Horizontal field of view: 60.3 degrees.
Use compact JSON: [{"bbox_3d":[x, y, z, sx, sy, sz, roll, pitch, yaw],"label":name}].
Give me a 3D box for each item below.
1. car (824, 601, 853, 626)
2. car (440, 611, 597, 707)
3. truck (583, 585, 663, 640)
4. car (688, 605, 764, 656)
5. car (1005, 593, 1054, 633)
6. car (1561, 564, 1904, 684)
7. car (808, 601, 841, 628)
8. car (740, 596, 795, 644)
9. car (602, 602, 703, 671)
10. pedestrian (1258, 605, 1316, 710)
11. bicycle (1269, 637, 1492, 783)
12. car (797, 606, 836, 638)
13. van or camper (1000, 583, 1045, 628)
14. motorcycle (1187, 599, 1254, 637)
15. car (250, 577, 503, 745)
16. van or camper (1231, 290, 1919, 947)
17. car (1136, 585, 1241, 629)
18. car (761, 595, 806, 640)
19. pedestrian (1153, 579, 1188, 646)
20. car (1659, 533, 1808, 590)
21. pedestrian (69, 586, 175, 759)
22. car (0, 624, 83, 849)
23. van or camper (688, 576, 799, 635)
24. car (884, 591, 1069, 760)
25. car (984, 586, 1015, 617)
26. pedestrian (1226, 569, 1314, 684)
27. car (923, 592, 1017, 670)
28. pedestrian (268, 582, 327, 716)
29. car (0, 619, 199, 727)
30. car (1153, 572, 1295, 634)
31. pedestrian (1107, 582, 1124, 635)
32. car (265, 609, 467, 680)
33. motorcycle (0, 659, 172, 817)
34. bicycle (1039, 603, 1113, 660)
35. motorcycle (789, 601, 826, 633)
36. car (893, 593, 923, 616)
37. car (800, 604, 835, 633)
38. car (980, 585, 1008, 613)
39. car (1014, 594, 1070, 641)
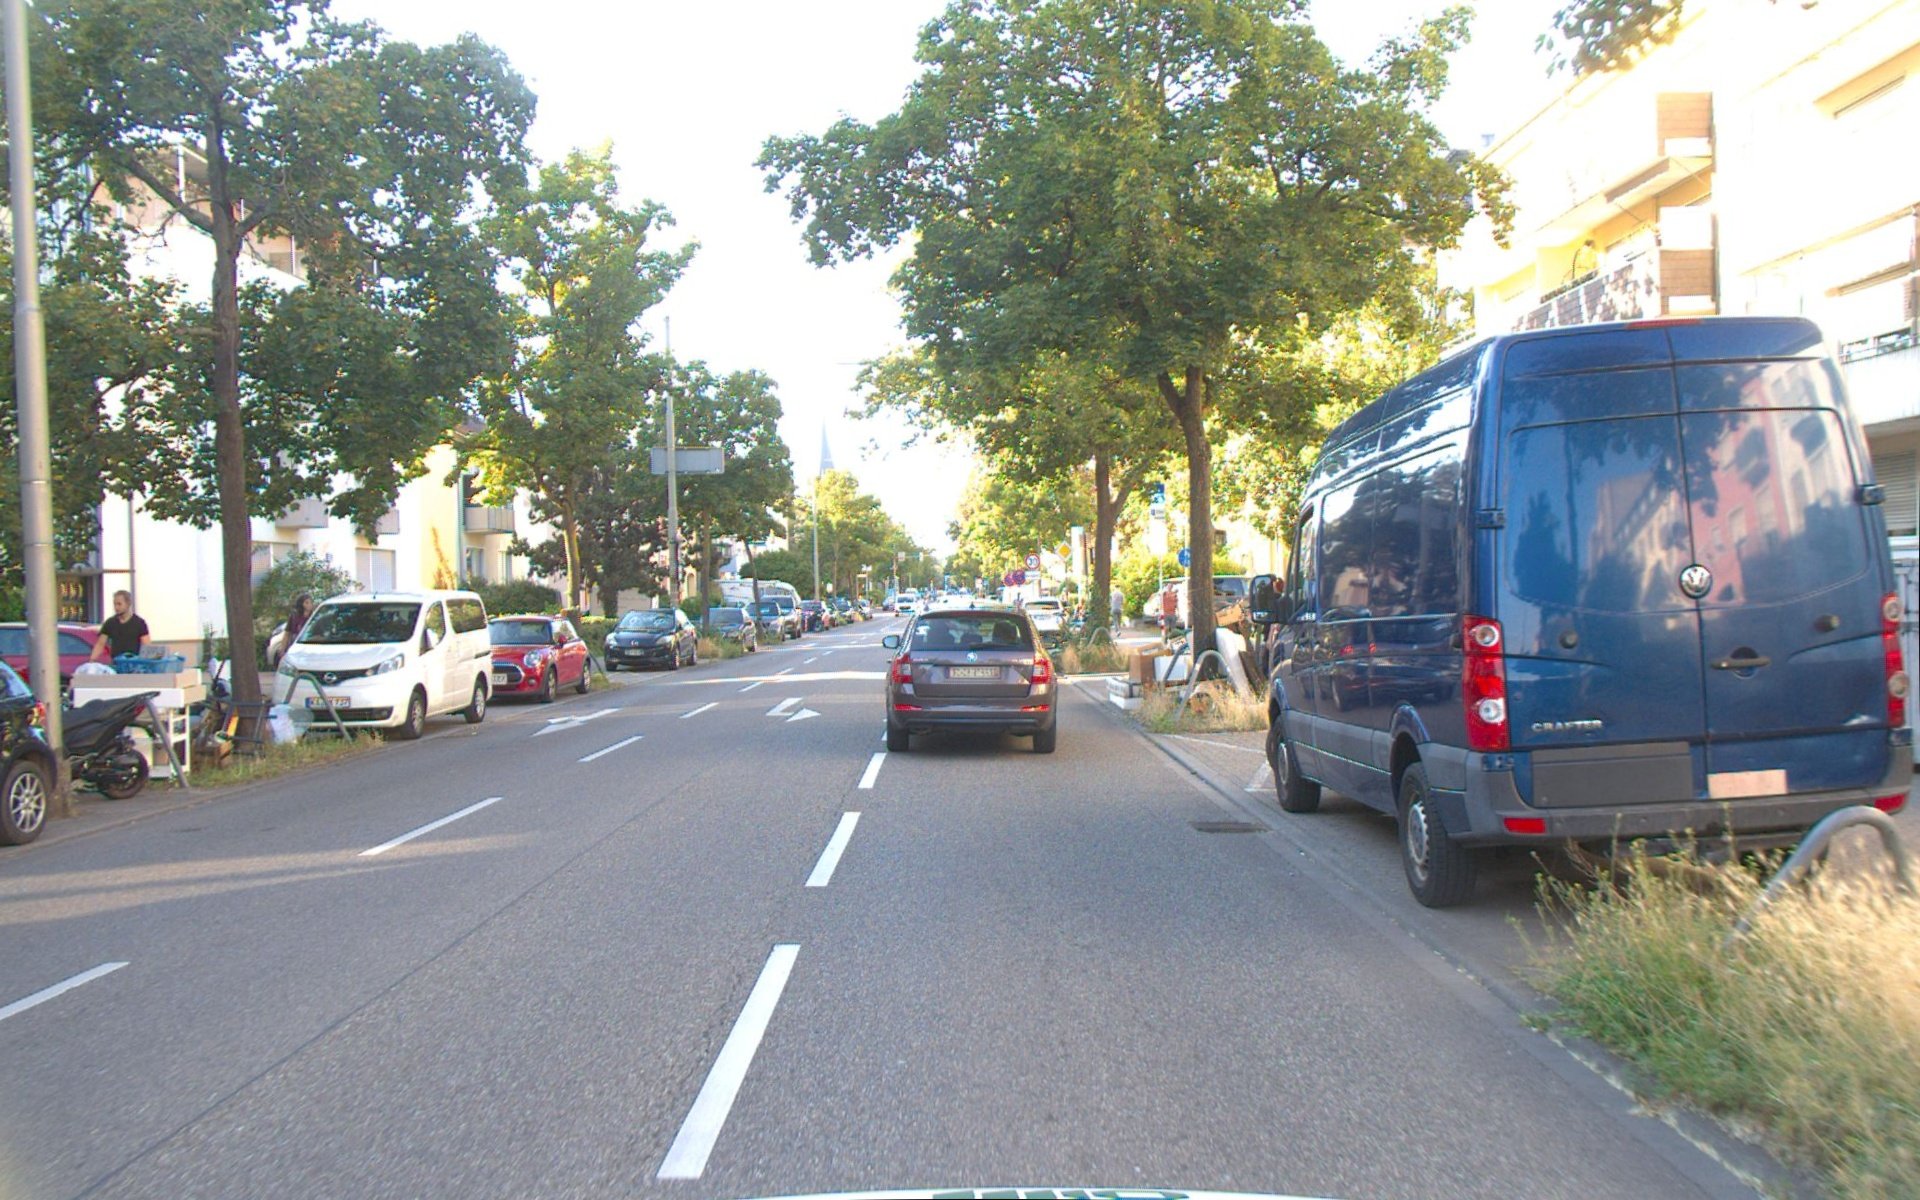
[{"bbox_3d":[-7.857,0.863,106.984,1.630,1.457,3.275,-1,1,0],"label":"car"},{"bbox_3d":[-7.574,0.963,28.707,1.682,1.445,3.786,-1,1,0],"label":"car"},{"bbox_3d":[-13.584,0.505,66.800,2.854,2.130,1.546,-1,0,-1],"label":"truck"},{"bbox_3d":[-7.375,0.947,52.480,1.718,1.445,4.426,-1,1,0],"label":"car"},{"bbox_3d":[2.677,0.467,64.112,1.783,1.438,4.112,-1,1,2],"label":"car"},{"bbox_3d":[10.615,0.305,22.895,3.908,1.487,1.823,-2,0,-4],"label":"car"},{"bbox_3d":[-7.816,0.809,95.672,1.630,1.457,3.275,-1,1,0],"label":"car"},{"bbox_3d":[-7.572,0.748,65.309,1.714,1.771,3.591,-1,1,0],"label":"car"},{"bbox_3d":[-7.553,0.864,40.966,1.682,1.523,4.247,-1,1,0],"label":"car"},{"bbox_3d":[4.112,0.718,20.783,0.639,1.276,0.658,-1,0,16],"label":"pedestrian"},{"bbox_3d":[3.367,0.876,13.301,1.666,1.108,0.404,-1,0,2],"label":"bicycle"},{"bbox_3d":[-7.405,1.107,85.443,1.630,1.538,4.178,-1,1,0],"label":"car"},{"bbox_3d":[2.976,0.233,79.528,1.953,2.049,4.000,-1,1,0],"label":"van or camper"},{"bbox_3d":[8.197,0.566,52.034,2.011,1.144,0.525,-2,0,-6],"label":"motorcycle"},{"bbox_3d":[-7.555,0.705,21.900,1.733,1.952,4.459,-1,1,0],"label":"car"},{"bbox_3d":[3.173,0.089,9.979,2.025,2.722,5.989,-1,0,0],"label":"van or camper"},{"bbox_3d":[8.794,0.267,63.689,3.747,1.552,1.502,-2,0,-22],"label":"car"},{"bbox_3d":[-7.465,0.712,70.144,1.476,1.788,3.693,-1,1,0],"label":"car"},{"bbox_3d":[5.873,0.344,46.167,0.741,1.827,0.905,-1,0,-5],"label":"pedestrian"},{"bbox_3d":[21.163,-1.049,45.339,3.277,1.443,1.661,-1,0,0],"label":"car"},{"bbox_3d":[-10.239,0.860,20.243,0.751,2.049,0.976,-1,0,-1],"label":"pedestrian"},{"bbox_3d":[-7.512,0.991,10.518,1.714,1.529,3.978,-1,1,0],"label":"car"},{"bbox_3d":[-15.209,0.390,116.616,7.487,3.942,1.999,-2,0,-2],"label":"van or camper"},{"bbox_3d":[0.185,0.693,17.403,1.694,1.520,3.951,-1,1,1],"label":"car"},{"bbox_3d":[2.454,0.049,102.821,1.694,1.846,3.949,-1,1,-2],"label":"car"},{"bbox_3d":[4.182,0.344,22.333,1.046,1.502,0.476,-2,0,-20],"label":"pedestrian"},{"bbox_3d":[0.160,0.623,35.656,1.695,1.520,3.948,-1,1,-4],"label":"car"},{"bbox_3d":[-10.267,0.748,25.648,0.614,2.049,0.616,-1,0,-1],"label":"pedestrian"},{"bbox_3d":[-13.622,1.051,23.639,4.630,1.386,1.993,-2,1,-13],"label":"car"},{"bbox_3d":[8.882,0.075,55.620,4.481,1.926,1.897,-2,0,-28],"label":"car"},{"bbox_3d":[5.422,0.277,57.621,0.524,1.825,0.688,-1,0,2],"label":"pedestrian"},{"bbox_3d":[-13.509,0.994,37.801,3.908,1.505,1.998,-1,0,-4],"label":"car"},{"bbox_3d":[-7.678,1.157,14.111,0.433,1.212,1.700,-1,1,37],"label":"motorcycle"},{"bbox_3d":[2.792,0.749,39.868,1.635,1.247,0.636,-4,0,12],"label":"bicycle"},{"bbox_3d":[-7.418,0.826,80.401,0.760,1.538,1.999,-2,1,-42],"label":"motorcycle"},{"bbox_3d":[-4.293,0.350,137.402,1.837,1.788,4.181,-1,1,6],"label":"car"},{"bbox_3d":[-7.823,1.011,91.128,1.630,1.457,3.275,-1,1,0],"label":"car"},{"bbox_3d":[2.368,-0.083,115.313,1.694,1.846,3.949,-1,1,-2],"label":"car"},{"bbox_3d":[2.725,0.571,55.627,1.783,1.438,4.112,-1,1,2],"label":"car"}]
